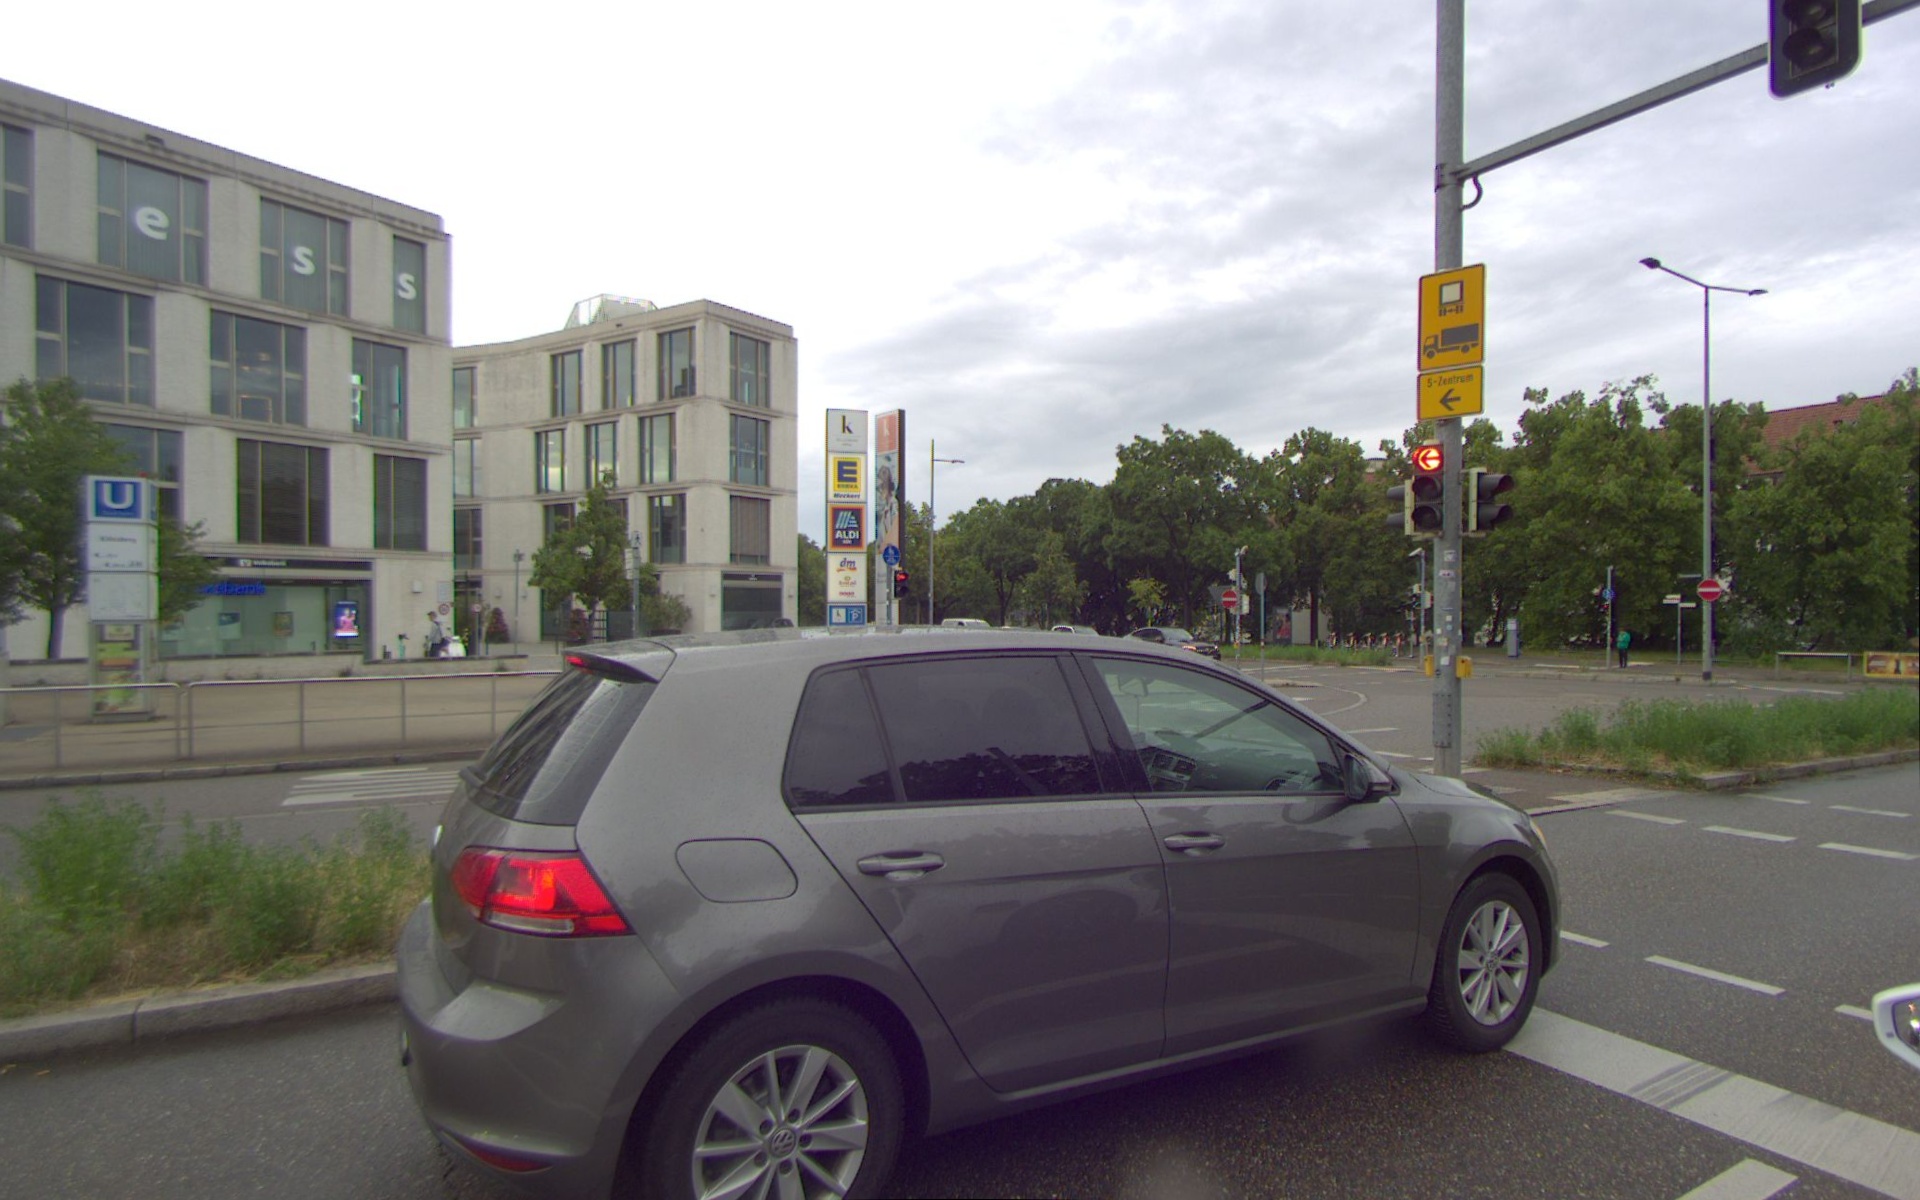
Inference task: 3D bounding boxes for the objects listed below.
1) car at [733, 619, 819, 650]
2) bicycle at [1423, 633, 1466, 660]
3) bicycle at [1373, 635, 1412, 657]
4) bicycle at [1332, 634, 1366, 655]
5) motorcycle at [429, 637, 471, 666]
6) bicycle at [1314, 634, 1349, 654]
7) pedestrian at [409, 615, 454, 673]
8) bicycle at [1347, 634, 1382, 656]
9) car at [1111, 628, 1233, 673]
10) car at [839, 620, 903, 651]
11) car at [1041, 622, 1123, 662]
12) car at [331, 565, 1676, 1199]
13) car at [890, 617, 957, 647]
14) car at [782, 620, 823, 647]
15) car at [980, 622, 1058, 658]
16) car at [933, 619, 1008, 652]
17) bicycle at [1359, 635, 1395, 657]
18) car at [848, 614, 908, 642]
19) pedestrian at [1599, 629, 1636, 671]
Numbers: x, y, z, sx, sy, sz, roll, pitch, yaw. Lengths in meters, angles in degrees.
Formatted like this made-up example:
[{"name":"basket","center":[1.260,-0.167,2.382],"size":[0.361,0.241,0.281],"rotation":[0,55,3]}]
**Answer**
[{"name":"car","center":[-9.188,1.712,50.320],"size":[1.968,1.483,3.985],"rotation":[0,-2,37]},{"name":"bicycle","center":[23.758,2.290,49.263],"size":[1.959,1.266,0.986],"rotation":[2,0,-30]},{"name":"bicycle","center":[22.242,2.357,51.651],"size":[1.959,1.085,0.798],"rotation":[2,0,-30]},{"name":"bicycle","center":[20.937,2.384,54.036],"size":[1.959,1.085,0.649],"rotation":[2,0,-30]},{"name":"motorcycle","center":[-14.181,1.424,27.941],"size":[1.081,0.750,0.522],"rotation":[2,0,29]},{"name":"bicycle","center":[20.266,2.398,54.766],"size":[1.959,1.085,0.649],"rotation":[2,0,-30]},{"name":"pedestrian","center":[-15.293,1.257,29.073],"size":[0.752,1.626,0.911],"rotation":[0,-1,37]},{"name":"bicycle","center":[21.370,2.373,53.036],"size":[1.959,1.085,0.649],"rotation":[2,0,-30]},{"name":"car","center":[8.393,1.962,40.242],"size":[1.976,1.520,5.001],"rotation":[2,0,-29]},{"name":"car","center":[-5.330,2.106,59.700],"size":[1.976,1.615,4.855],"rotation":[2,0,-29]},{"name":"car","center":[5.555,1.905,46.028],"size":[1.976,1.615,3.536],"rotation":[2,0,-30]},{"name":"car","center":[0.405,0.753,3.547],"size":[4.323,1.501,1.808],"rotation":[2,-1,-29]},{"name":"car","center":[-2.258,1.881,60.395],"size":[1.976,1.615,4.855],"rotation":[2,0,-29]},{"name":"car","center":[-12.623,2.656,80.459],"size":[1.976,2.040,3.969],"rotation":[1,-1,-29]},{"name":"car","center":[2.956,1.991,50.886],"size":[1.976,1.615,4.185],"rotation":[2,0,-29]},{"name":"car","center":[0.531,1.940,55.407],"size":[1.976,1.615,4.855],"rotation":[2,0,-29]},{"name":"bicycle","center":[21.671,2.390,52.175],"size":[1.959,1.085,0.649],"rotation":[2,0,-30]},{"name":"car","center":[-5.459,1.811,66.114],"size":[1.977,1.615,4.852],"rotation":[2,0,-31]},{"name":"pedestrian","center":[27.927,2.119,42.661],"size":[0.933,1.750,0.919],"rotation":[2,0,-26]}]
